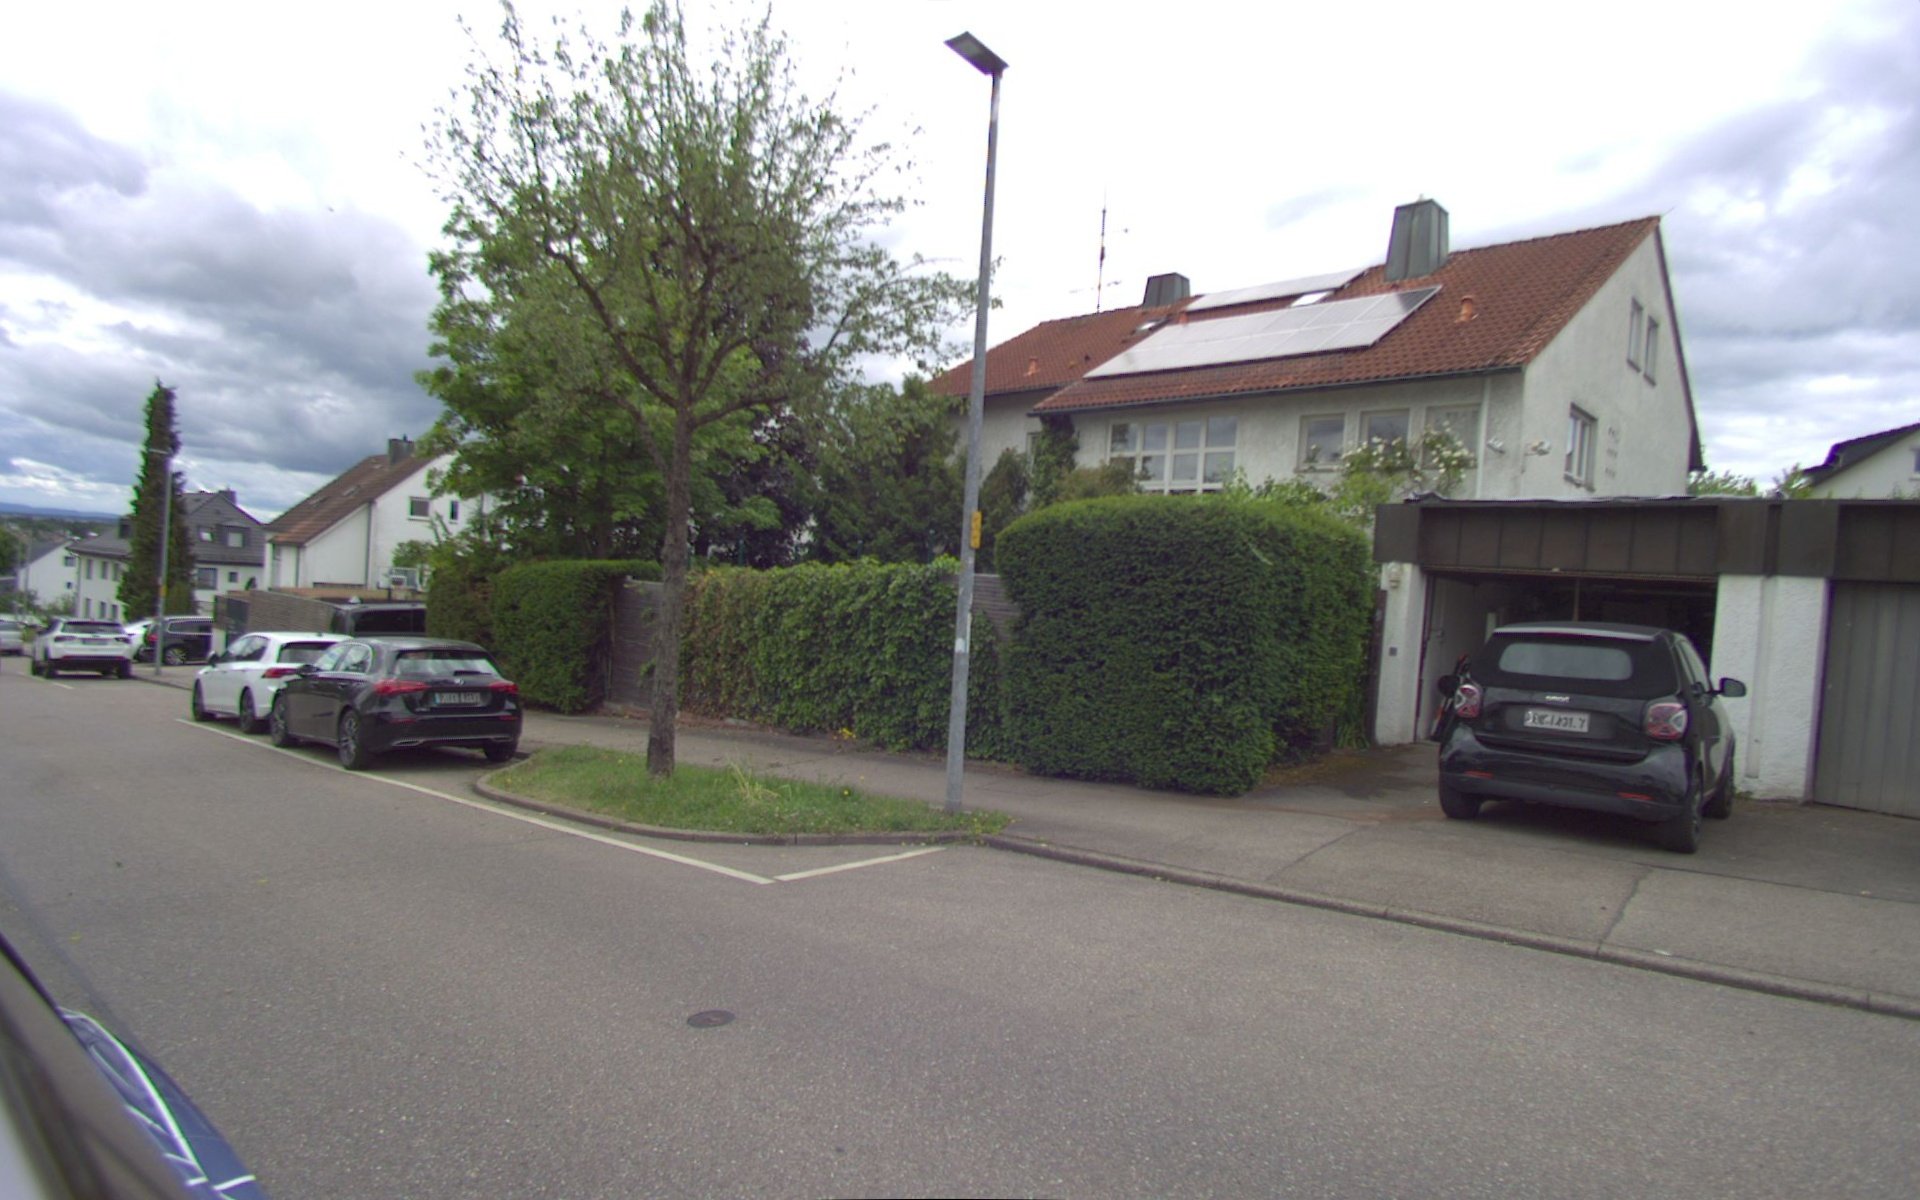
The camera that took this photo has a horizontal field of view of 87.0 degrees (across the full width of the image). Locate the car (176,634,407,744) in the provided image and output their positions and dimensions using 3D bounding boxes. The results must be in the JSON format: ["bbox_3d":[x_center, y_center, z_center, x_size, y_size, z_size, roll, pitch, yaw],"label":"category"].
[{"bbox_3d":[-10.538,1.307,15.831,4.405,1.433,1.818,-1,-4,41],"label":"car"}]

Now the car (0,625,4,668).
[{"bbox_3d":[-28.187,1.459,28.101,4.256,1.660,1.920,-1,-4,42],"label":"car"}]

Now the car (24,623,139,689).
[{"bbox_3d":[-24.354,1.511,27.999,4.407,1.679,1.817,-1,-4,42],"label":"car"}]

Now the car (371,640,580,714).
[{"bbox_3d":[-10.753,1.650,22.552,3.934,1.456,1.783,1,-2,-36],"label":"car"}]

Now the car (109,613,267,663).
[{"bbox_3d":[-28.639,1.368,37.664,1.909,1.641,4.367,-1,0,40],"label":"car"}]

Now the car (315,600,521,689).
[{"bbox_3d":[-13.128,1.051,24.613,4.022,1.964,2.003,3,-1,-41],"label":"car"}]

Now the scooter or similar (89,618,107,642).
[{"bbox_3d":[-42.191,1.446,49.551,0.468,1.157,1.458,0,-1,-33],"label":"scooter or similar"}]

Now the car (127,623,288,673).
[{"bbox_3d":[-26.263,1.696,35.431,1.855,1.624,4.247,-1,-4,45],"label":"car"}]

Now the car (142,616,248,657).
[{"bbox_3d":[-32.652,1.505,43.256,1.657,1.590,3.392,0,1,42],"label":"car"}]

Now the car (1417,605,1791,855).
[{"bbox_3d":[5.504,0.852,8.440,3.941,1.545,1.789,0,-1,-45],"label":"car"}]

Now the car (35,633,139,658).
[{"bbox_3d":[-50.778,2.656,58.915,1.900,1.378,4.248,-1,-3,36],"label":"car"}]

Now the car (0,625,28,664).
[{"bbox_3d":[-40.582,1.834,42.453,3.853,1.575,1.742,-1,-4,41],"label":"car"}]

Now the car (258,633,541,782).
[{"bbox_3d":[-6.898,1.184,12.273,4.078,1.434,1.709,0,-3,42],"label":"car"}]
